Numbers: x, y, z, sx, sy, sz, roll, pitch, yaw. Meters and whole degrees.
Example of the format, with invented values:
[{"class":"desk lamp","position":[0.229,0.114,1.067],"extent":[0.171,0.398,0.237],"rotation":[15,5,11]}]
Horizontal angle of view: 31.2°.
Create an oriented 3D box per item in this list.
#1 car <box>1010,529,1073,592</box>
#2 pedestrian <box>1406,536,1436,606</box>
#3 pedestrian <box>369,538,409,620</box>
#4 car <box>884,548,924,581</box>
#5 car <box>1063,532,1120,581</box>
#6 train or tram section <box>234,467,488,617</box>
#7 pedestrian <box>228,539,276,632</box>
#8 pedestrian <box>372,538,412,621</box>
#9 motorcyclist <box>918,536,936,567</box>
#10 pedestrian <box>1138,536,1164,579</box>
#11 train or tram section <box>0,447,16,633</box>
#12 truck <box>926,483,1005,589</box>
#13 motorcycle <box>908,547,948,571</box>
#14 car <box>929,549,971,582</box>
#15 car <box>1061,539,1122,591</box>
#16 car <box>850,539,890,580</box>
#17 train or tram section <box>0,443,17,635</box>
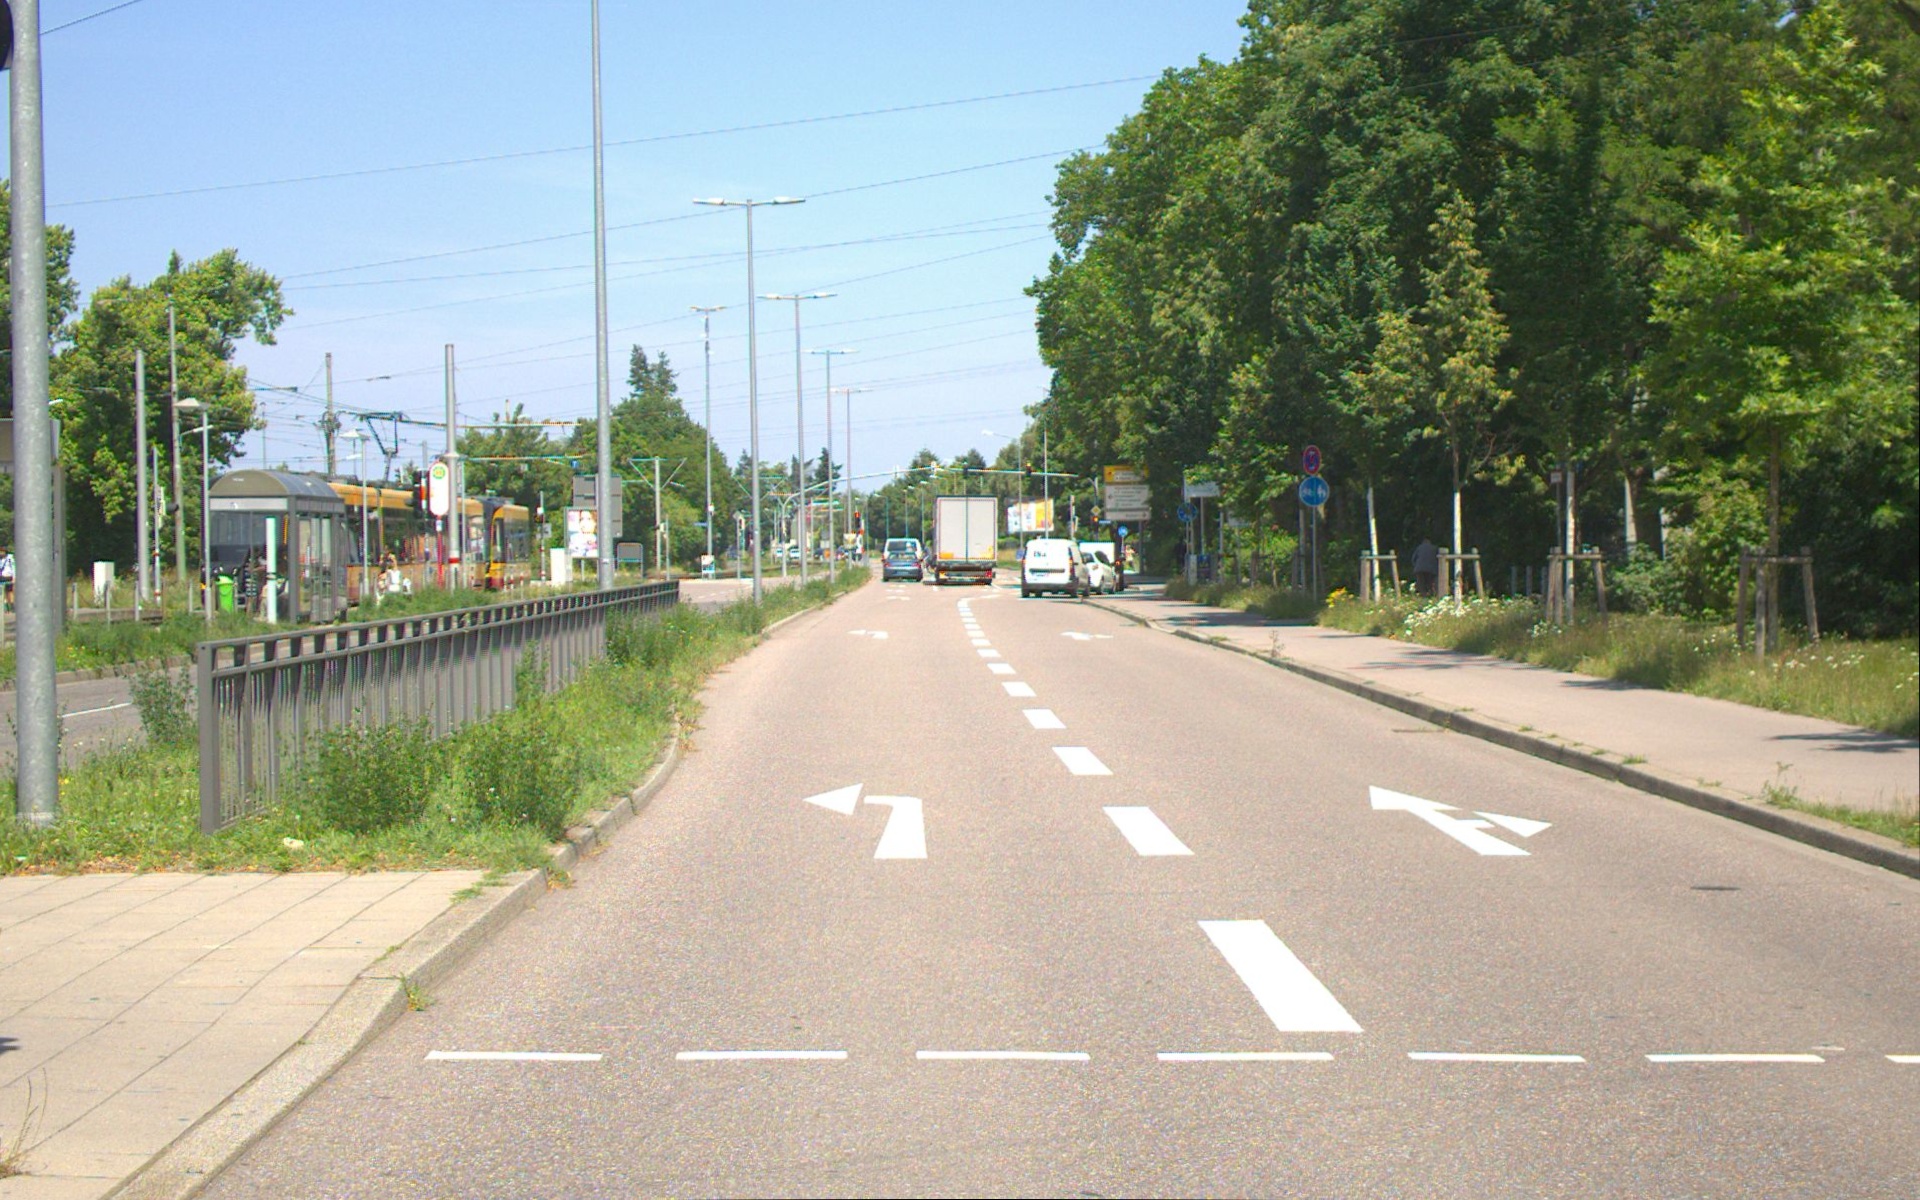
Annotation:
[{"class":"car","position":[2.496,-1.222,105.515],"extent":[1.779,1.897,4.000],"rotation":[0,1,-1]},{"class":"pedestrian","position":[9.420,-0.598,70.263],"extent":[0.604,1.433,0.556],"rotation":[0,1,6]},{"class":"pedestrian","position":[-14.105,-0.526,84.946],"extent":[0.815,2.007,0.938],"rotation":[0,1,-1]},{"class":"car","position":[-2.576,-1.651,157.884],"extent":[1.811,1.459,4.000],"rotation":[0,1,-1]},{"class":"car","position":[4.533,-1.515,118.789],"extent":[1.779,1.663,4.000],"rotation":[0,1,-1]},{"class":"train or tram section","position":[-17.040,-1.715,101.003],"extent":[2.957,3.736,30.035],"rotation":[0,1,-1]},{"class":"pedestrian","position":[-14.266,-0.303,69.300],"extent":[0.785,1.862,0.817],"rotation":[0,1,-1]},{"class":"pedestrian","position":[-13.827,-0.509,83.652],"extent":[0.815,2.007,0.938],"rotation":[0,1,-1]},{"class":"motorcyclist","position":[-1.936,-2.834,201.375],"extent":[0.924,1.829,0.850],"rotation":[-1,1,-12]},{"class":"pedestrian","position":[9.076,-2.024,163.423],"extent":[1.185,2.007,1.214],"rotation":[0,1,0]},{"class":"train or tram section","position":[-24.900,-1.369,80.552],"extent":[3.215,3.918,18.505],"rotation":[-1,1,-22]},{"class":"truck","position":[0.195,-2.718,146.052],"extent":[3.205,4.344,6.561],"rotation":[0,1,-1]},{"class":"motorcycle","position":[-1.881,-2.413,201.336],"extent":[2.182,1.402,0.848],"rotation":[-1,1,-11]},{"class":"car","position":[-0.452,-1.557,153.617],"extent":[1.811,1.459,4.000],"rotation":[0,1,-1]},{"class":"car","position":[4.284,-1.151,112.445],"extent":[1.779,1.663,4.000],"rotation":[0,1,-1]},{"class":"car","position":[-4.574,-2.074,175.164],"extent":[1.993,2.007,4.000],"rotation":[0,1,-1]},{"class":"train or tram section","position":[-20.356,-1.124,63.420],"extent":[3.215,3.918,18.505],"rotation":[-1,1,-8]}]
